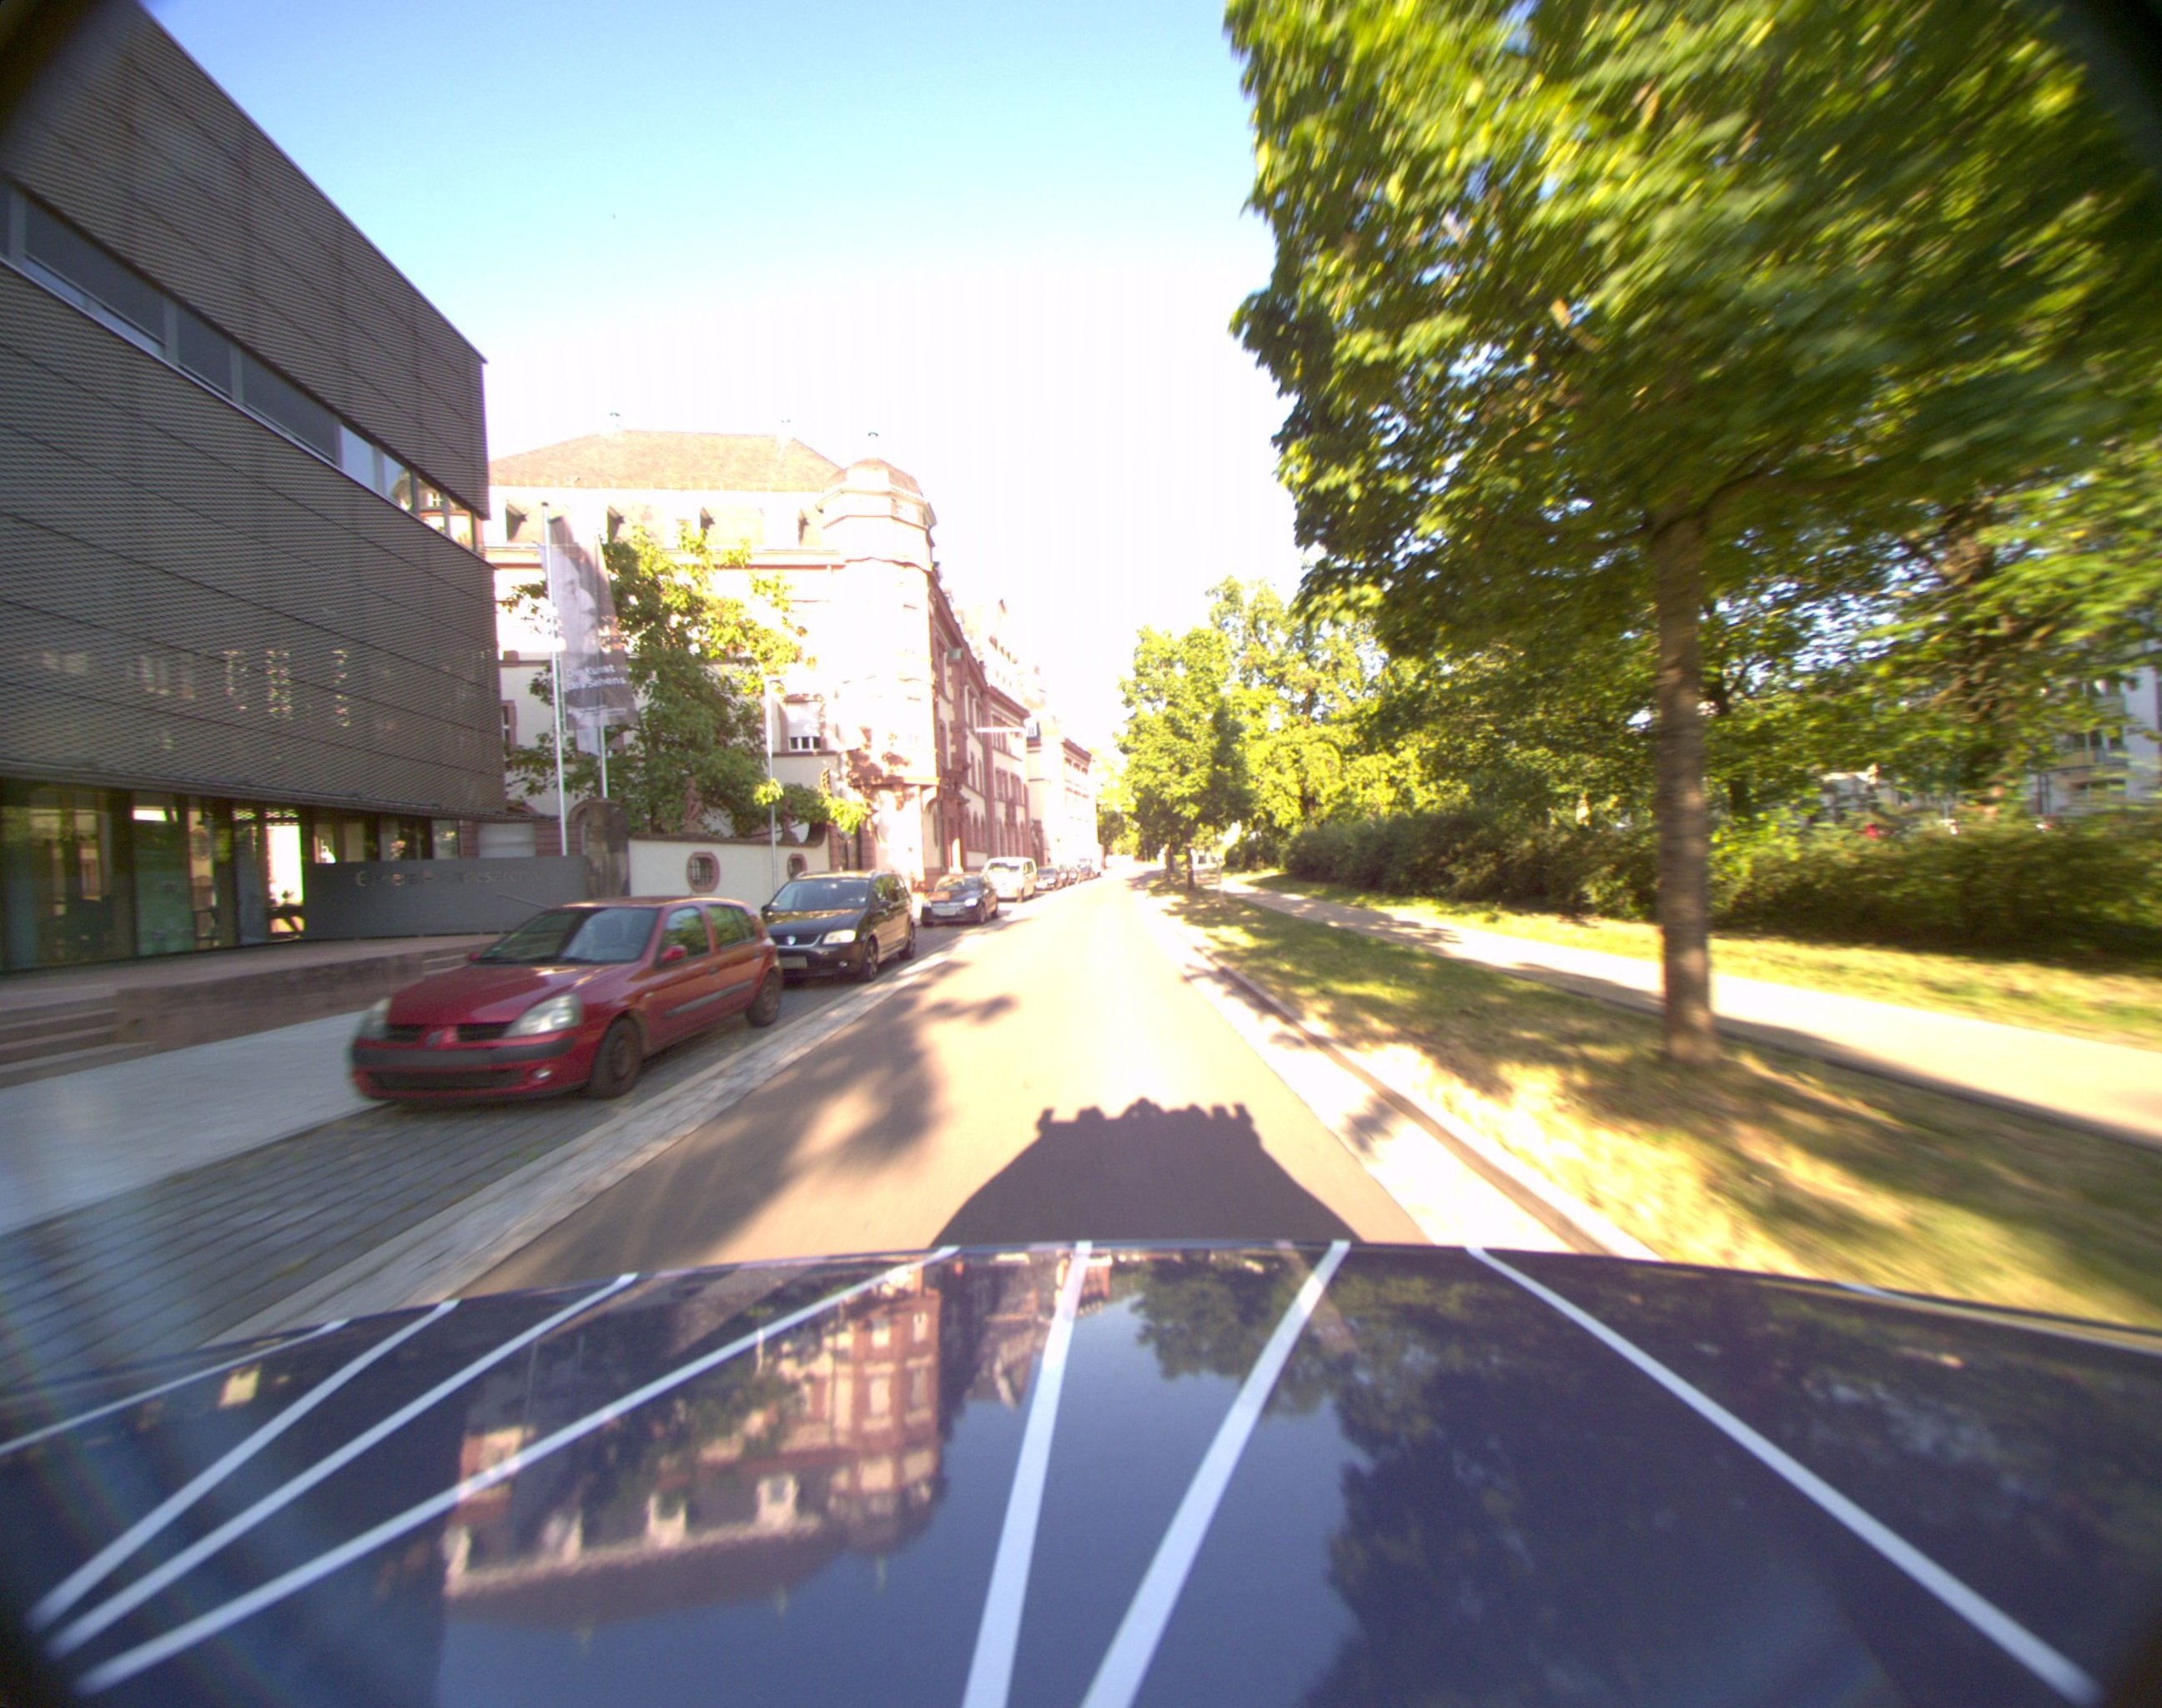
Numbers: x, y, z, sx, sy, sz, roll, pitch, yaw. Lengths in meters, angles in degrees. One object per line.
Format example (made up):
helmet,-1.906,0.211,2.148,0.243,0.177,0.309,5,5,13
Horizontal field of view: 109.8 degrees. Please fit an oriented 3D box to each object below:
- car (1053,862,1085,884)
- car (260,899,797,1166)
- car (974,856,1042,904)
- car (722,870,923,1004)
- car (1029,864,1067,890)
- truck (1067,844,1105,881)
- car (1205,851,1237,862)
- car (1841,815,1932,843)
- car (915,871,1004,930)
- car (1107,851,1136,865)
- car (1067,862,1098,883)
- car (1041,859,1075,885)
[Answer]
car,-0.812,1.362,55.278,1.875,1.428,4.524,-1,0,5
car,-4.143,1.218,6.636,1.728,1.413,3.907,-2,0,2
car,-3.240,1.126,34.871,1.997,1.954,4.851,-2,0,7
car,-3.806,1.128,11.988,1.728,1.659,4.114,-1,-1,0
car,-1.915,1.348,45.302,1.682,1.394,4.201,0,0,5
truck,0.524,0.702,70.802,2.629,3.102,6.090,-4,0,7
car,23.582,0.428,127.913,4.837,1.549,1.867,-3,0,-8
car,51.869,-1.582,49.044,1.934,1.572,4.221,-4,0,13
car,-3.494,1.313,22.704,1.752,1.458,4.478,-2,0,2
car,8.902,0.938,166.075,5.910,2.684,2.219,-3,0,-10
car,0.135,1.528,64.060,1.771,1.522,4.575,-4,0,10
car,-1.486,1.189,50.681,1.820,1.593,4.194,-1,0,4
